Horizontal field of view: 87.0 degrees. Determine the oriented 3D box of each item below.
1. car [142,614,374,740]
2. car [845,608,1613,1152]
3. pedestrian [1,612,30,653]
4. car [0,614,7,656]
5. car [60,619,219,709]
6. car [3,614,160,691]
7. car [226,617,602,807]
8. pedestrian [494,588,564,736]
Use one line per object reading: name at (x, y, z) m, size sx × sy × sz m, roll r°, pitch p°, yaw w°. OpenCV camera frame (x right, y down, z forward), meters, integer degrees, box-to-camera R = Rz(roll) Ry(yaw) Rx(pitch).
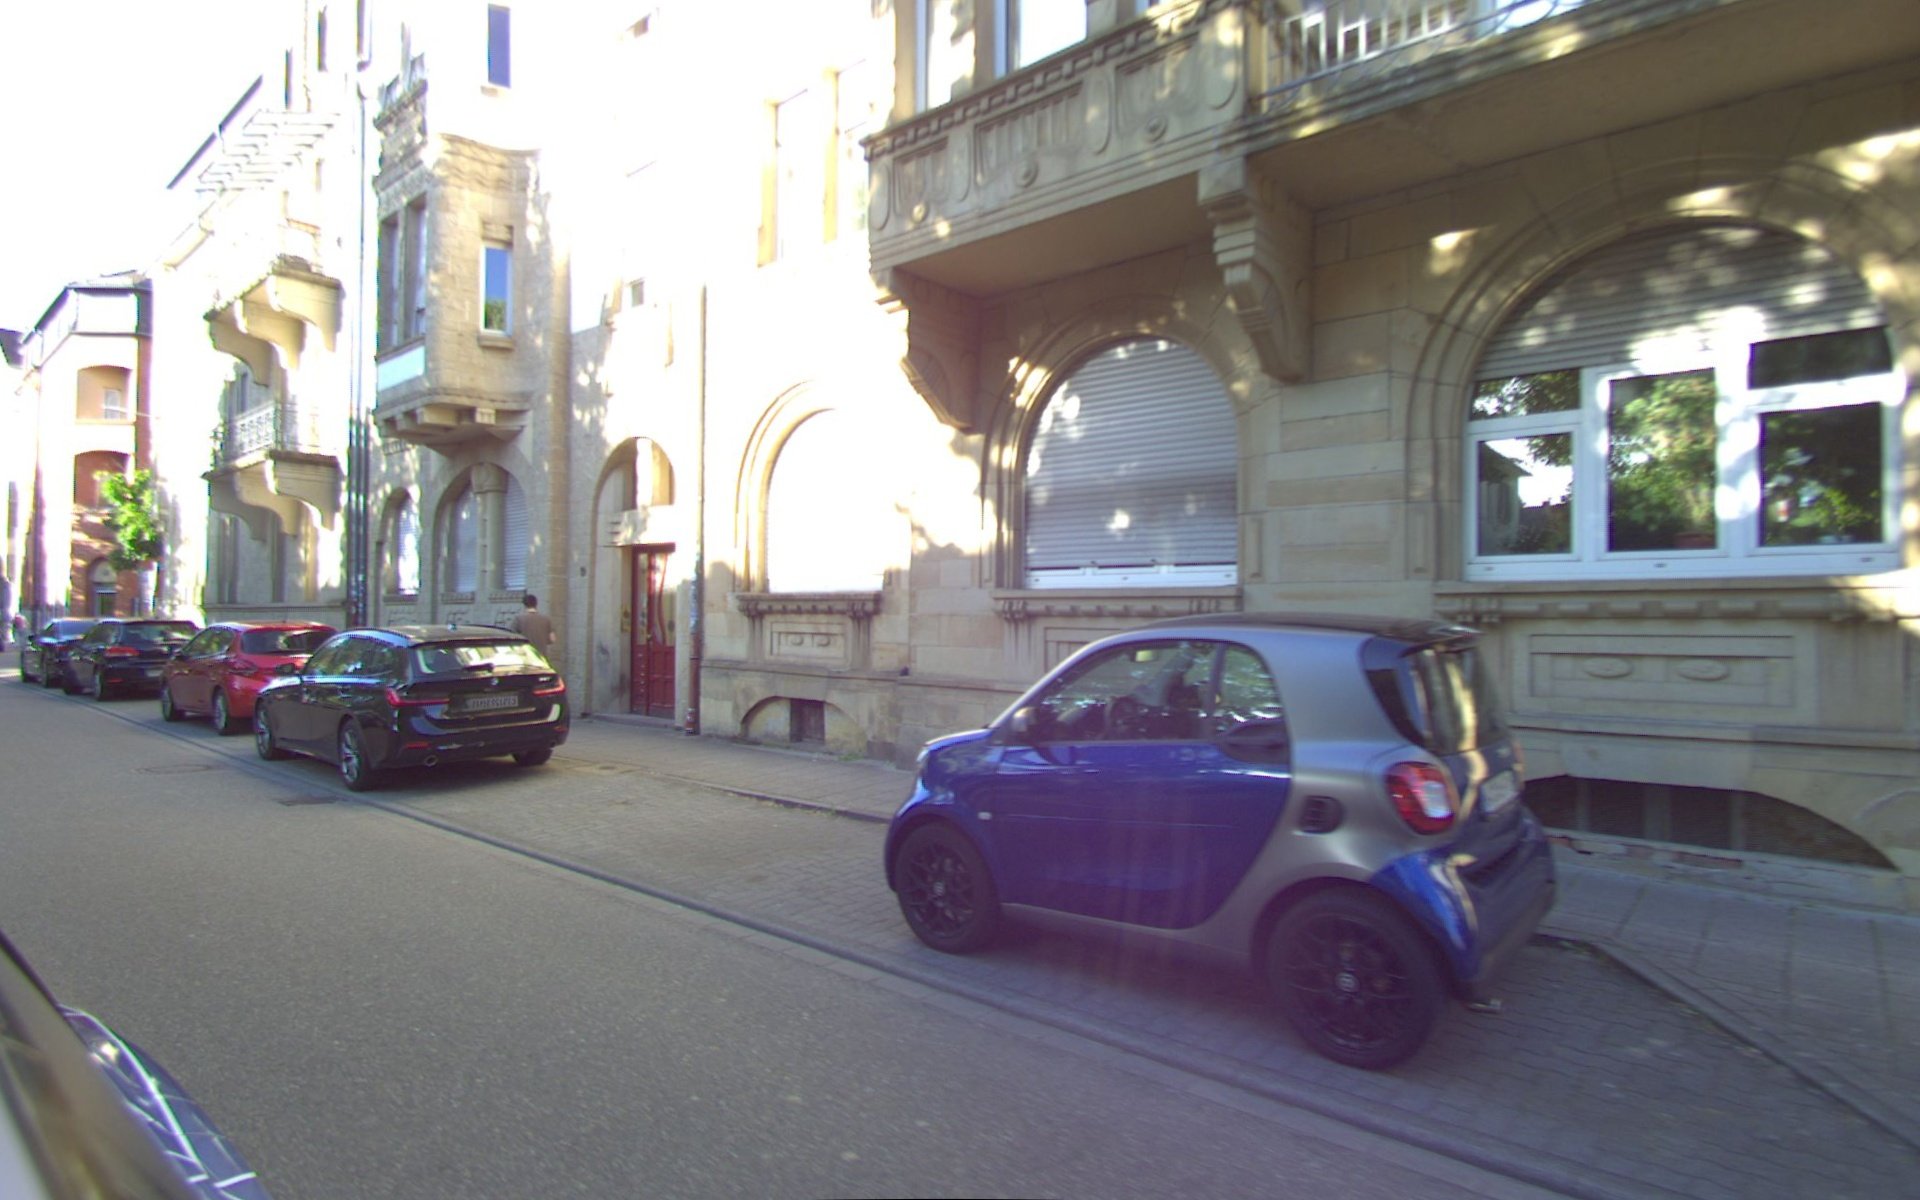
car at (-10.038, 0.985, 14.386) m, size 3.769 × 1.477 × 1.673 m, roll -1°, pitch 2°, yaw 39°
car at (1.087, 0.838, 4.520) m, size 2.860 × 1.520 × 1.666 m, roll -1°, pitch 1°, yaw 41°
pedestrian at (-40.639, 1.388, 43.546) m, size 1.009 × 1.715 × 0.769 m, roll -1°, pitch -2°, yaw 41°
car at (-39.477, 1.409, 40.295) m, size 3.998 × 1.616 × 1.838 m, roll -1°, pitch 0°, yaw 41°
car at (-15.441, 1.113, 18.975) m, size 3.997 × 1.477 × 1.724 m, roll -1°, pitch 0°, yaw 42°
car at (-19.727, 1.111, 22.666) m, size 4.506 × 1.468 × 1.870 m, roll -1°, pitch 1°, yaw 39°
car at (-5.753, 0.942, 10.404) m, size 4.539 × 1.449 × 1.881 m, roll -1°, pitch 1°, yaw 41°
pedestrian at (-5.597, 0.779, 13.148) m, size 0.497 × 1.861 × 0.685 m, roll -1°, pitch -1°, yaw 42°
